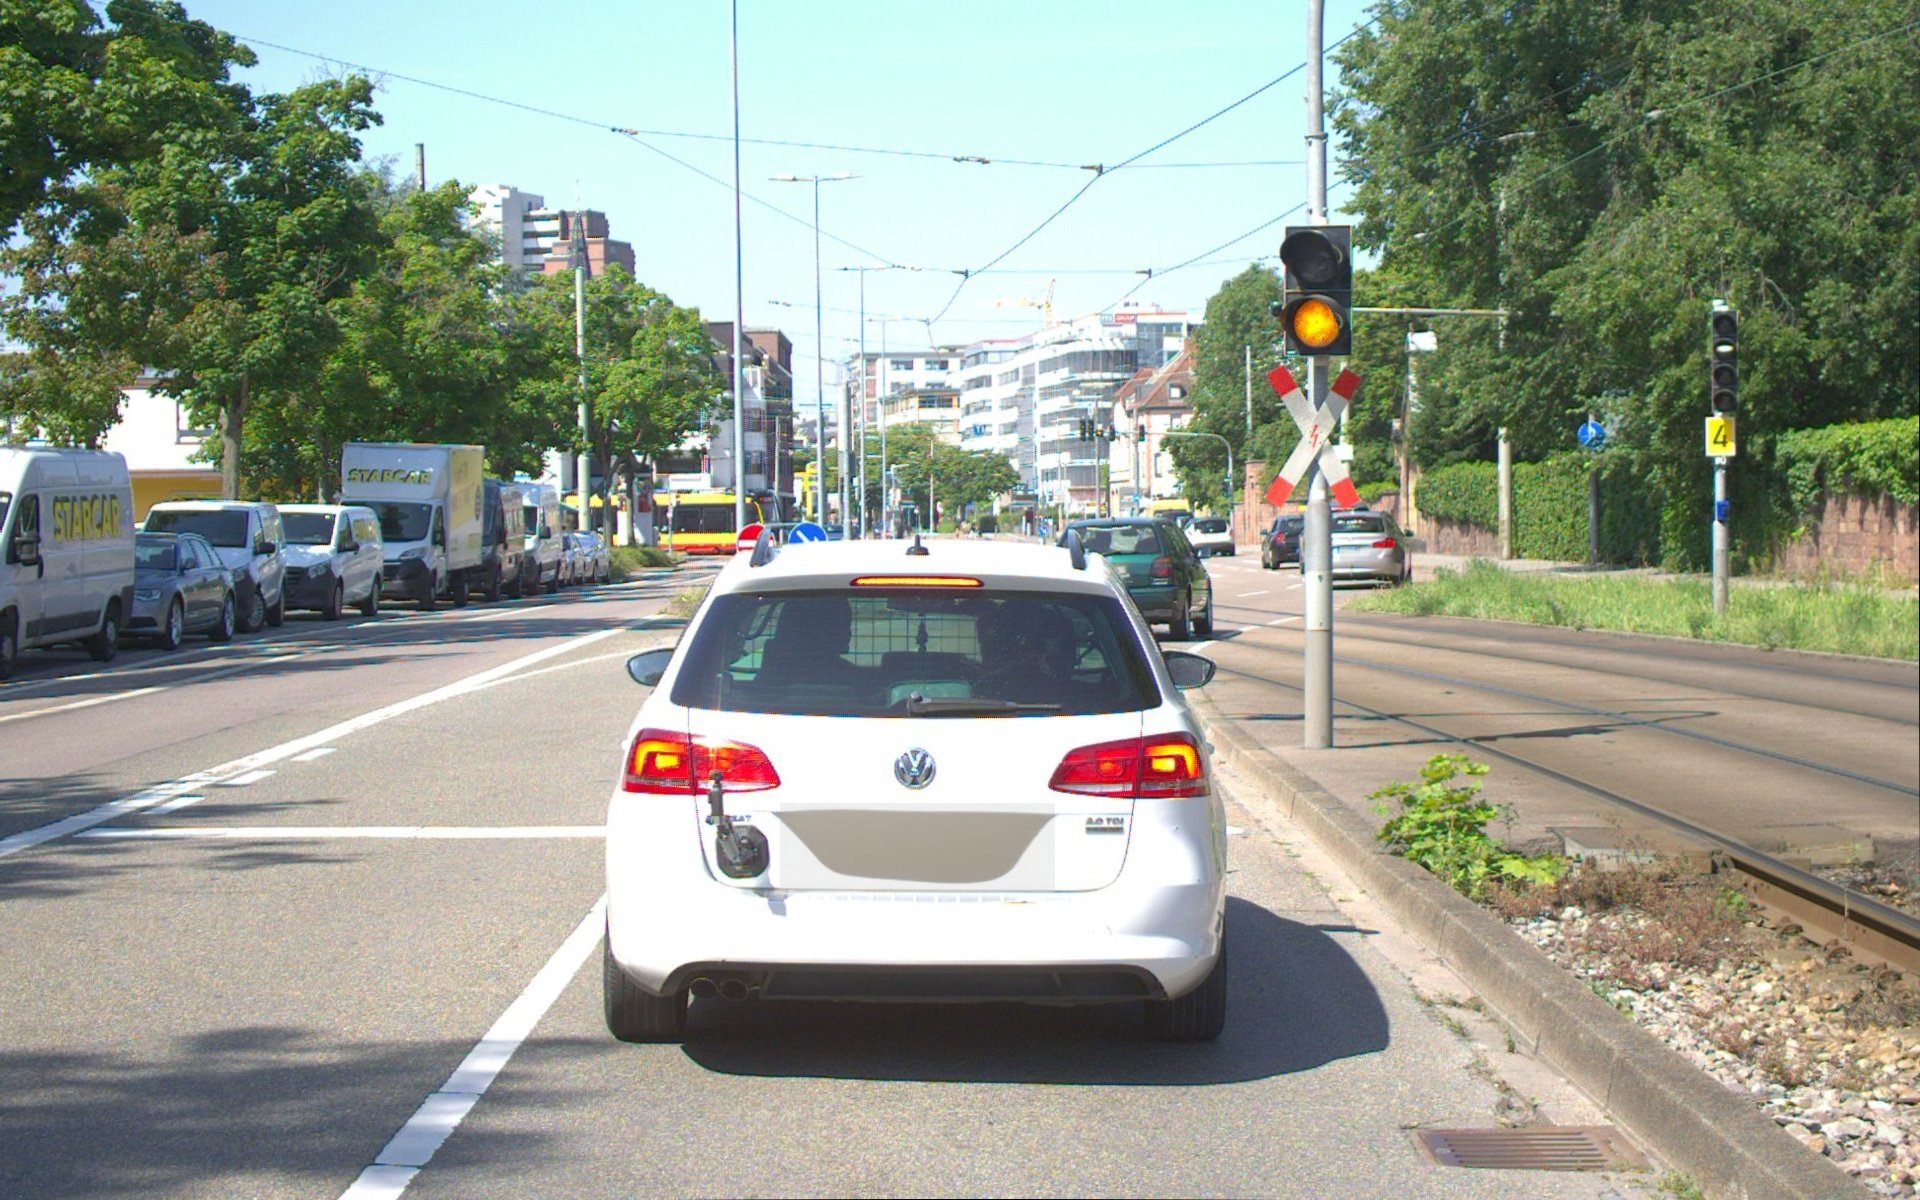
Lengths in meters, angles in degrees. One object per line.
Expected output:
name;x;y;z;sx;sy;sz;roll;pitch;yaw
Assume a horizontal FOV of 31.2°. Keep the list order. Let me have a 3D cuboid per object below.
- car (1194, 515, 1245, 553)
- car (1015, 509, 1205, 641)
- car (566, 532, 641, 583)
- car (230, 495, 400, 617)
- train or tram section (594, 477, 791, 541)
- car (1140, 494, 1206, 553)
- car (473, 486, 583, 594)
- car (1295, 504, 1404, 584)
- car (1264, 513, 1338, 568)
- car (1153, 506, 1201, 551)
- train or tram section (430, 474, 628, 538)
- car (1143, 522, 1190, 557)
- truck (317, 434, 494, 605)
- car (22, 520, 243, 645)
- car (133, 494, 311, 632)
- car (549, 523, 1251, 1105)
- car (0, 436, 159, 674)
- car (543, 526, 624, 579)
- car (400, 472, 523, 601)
car;9.561;-2.433;126.943;1.581;1.341;3.454;1;1;0
car;1.750;-0.318;39.035;1.746;1.383;3.912;1;1;8
car;-10.630;-1.293;102.739;1.780;1.428;4.038;-1;1;0
car;-10.854;-0.779;58.202;1.843;1.954;5.134;-1;1;0
train or tram section;-14.280;-4.850;182.657;11.259;3.241;2.304;2;1;33
car;9.387;-3.373;152.248;2.463;2.490;5.910;1;1;0
car;-10.385;-1.468;83.021;1.843;2.486;5.857;-1;1;0
car;7.431;-1.080;65.287;1.862;1.412;4.323;2;2;9
car;9.135;-1.623;92.357;1.746;1.402;3.913;1;1;3
car;8.914;-2.933;141.624;1.691;1.806;3.454;1;1;0
train or tram section;-23.510;-5.132;187.369;10.783;3.241;2.306;2;1;21
car;9.728;-2.844;162.332;1.993;1.590;4.000;1;1;0
truck;-10.654;-1.566;66.653;2.356;3.112;6.892;-1;1;-1
car;-10.699;-0.268;44.730;1.843;1.511;4.197;-1;1;0
car;-11.011;-0.593;51.582;1.843;1.930;5.195;-1;1;-4
car;-0.185;0.506;10.771;1.768;1.441;3.913;1;1;-1
car;-10.925;-0.577;38.661;2.059;2.492;6.307;2;2;3
car;-10.635;-1.363;97.406;1.843;1.428;4.038;-1;1;0
car;-10.724;-1.383;74.250;1.843;2.659;5.003;-1;1;0
